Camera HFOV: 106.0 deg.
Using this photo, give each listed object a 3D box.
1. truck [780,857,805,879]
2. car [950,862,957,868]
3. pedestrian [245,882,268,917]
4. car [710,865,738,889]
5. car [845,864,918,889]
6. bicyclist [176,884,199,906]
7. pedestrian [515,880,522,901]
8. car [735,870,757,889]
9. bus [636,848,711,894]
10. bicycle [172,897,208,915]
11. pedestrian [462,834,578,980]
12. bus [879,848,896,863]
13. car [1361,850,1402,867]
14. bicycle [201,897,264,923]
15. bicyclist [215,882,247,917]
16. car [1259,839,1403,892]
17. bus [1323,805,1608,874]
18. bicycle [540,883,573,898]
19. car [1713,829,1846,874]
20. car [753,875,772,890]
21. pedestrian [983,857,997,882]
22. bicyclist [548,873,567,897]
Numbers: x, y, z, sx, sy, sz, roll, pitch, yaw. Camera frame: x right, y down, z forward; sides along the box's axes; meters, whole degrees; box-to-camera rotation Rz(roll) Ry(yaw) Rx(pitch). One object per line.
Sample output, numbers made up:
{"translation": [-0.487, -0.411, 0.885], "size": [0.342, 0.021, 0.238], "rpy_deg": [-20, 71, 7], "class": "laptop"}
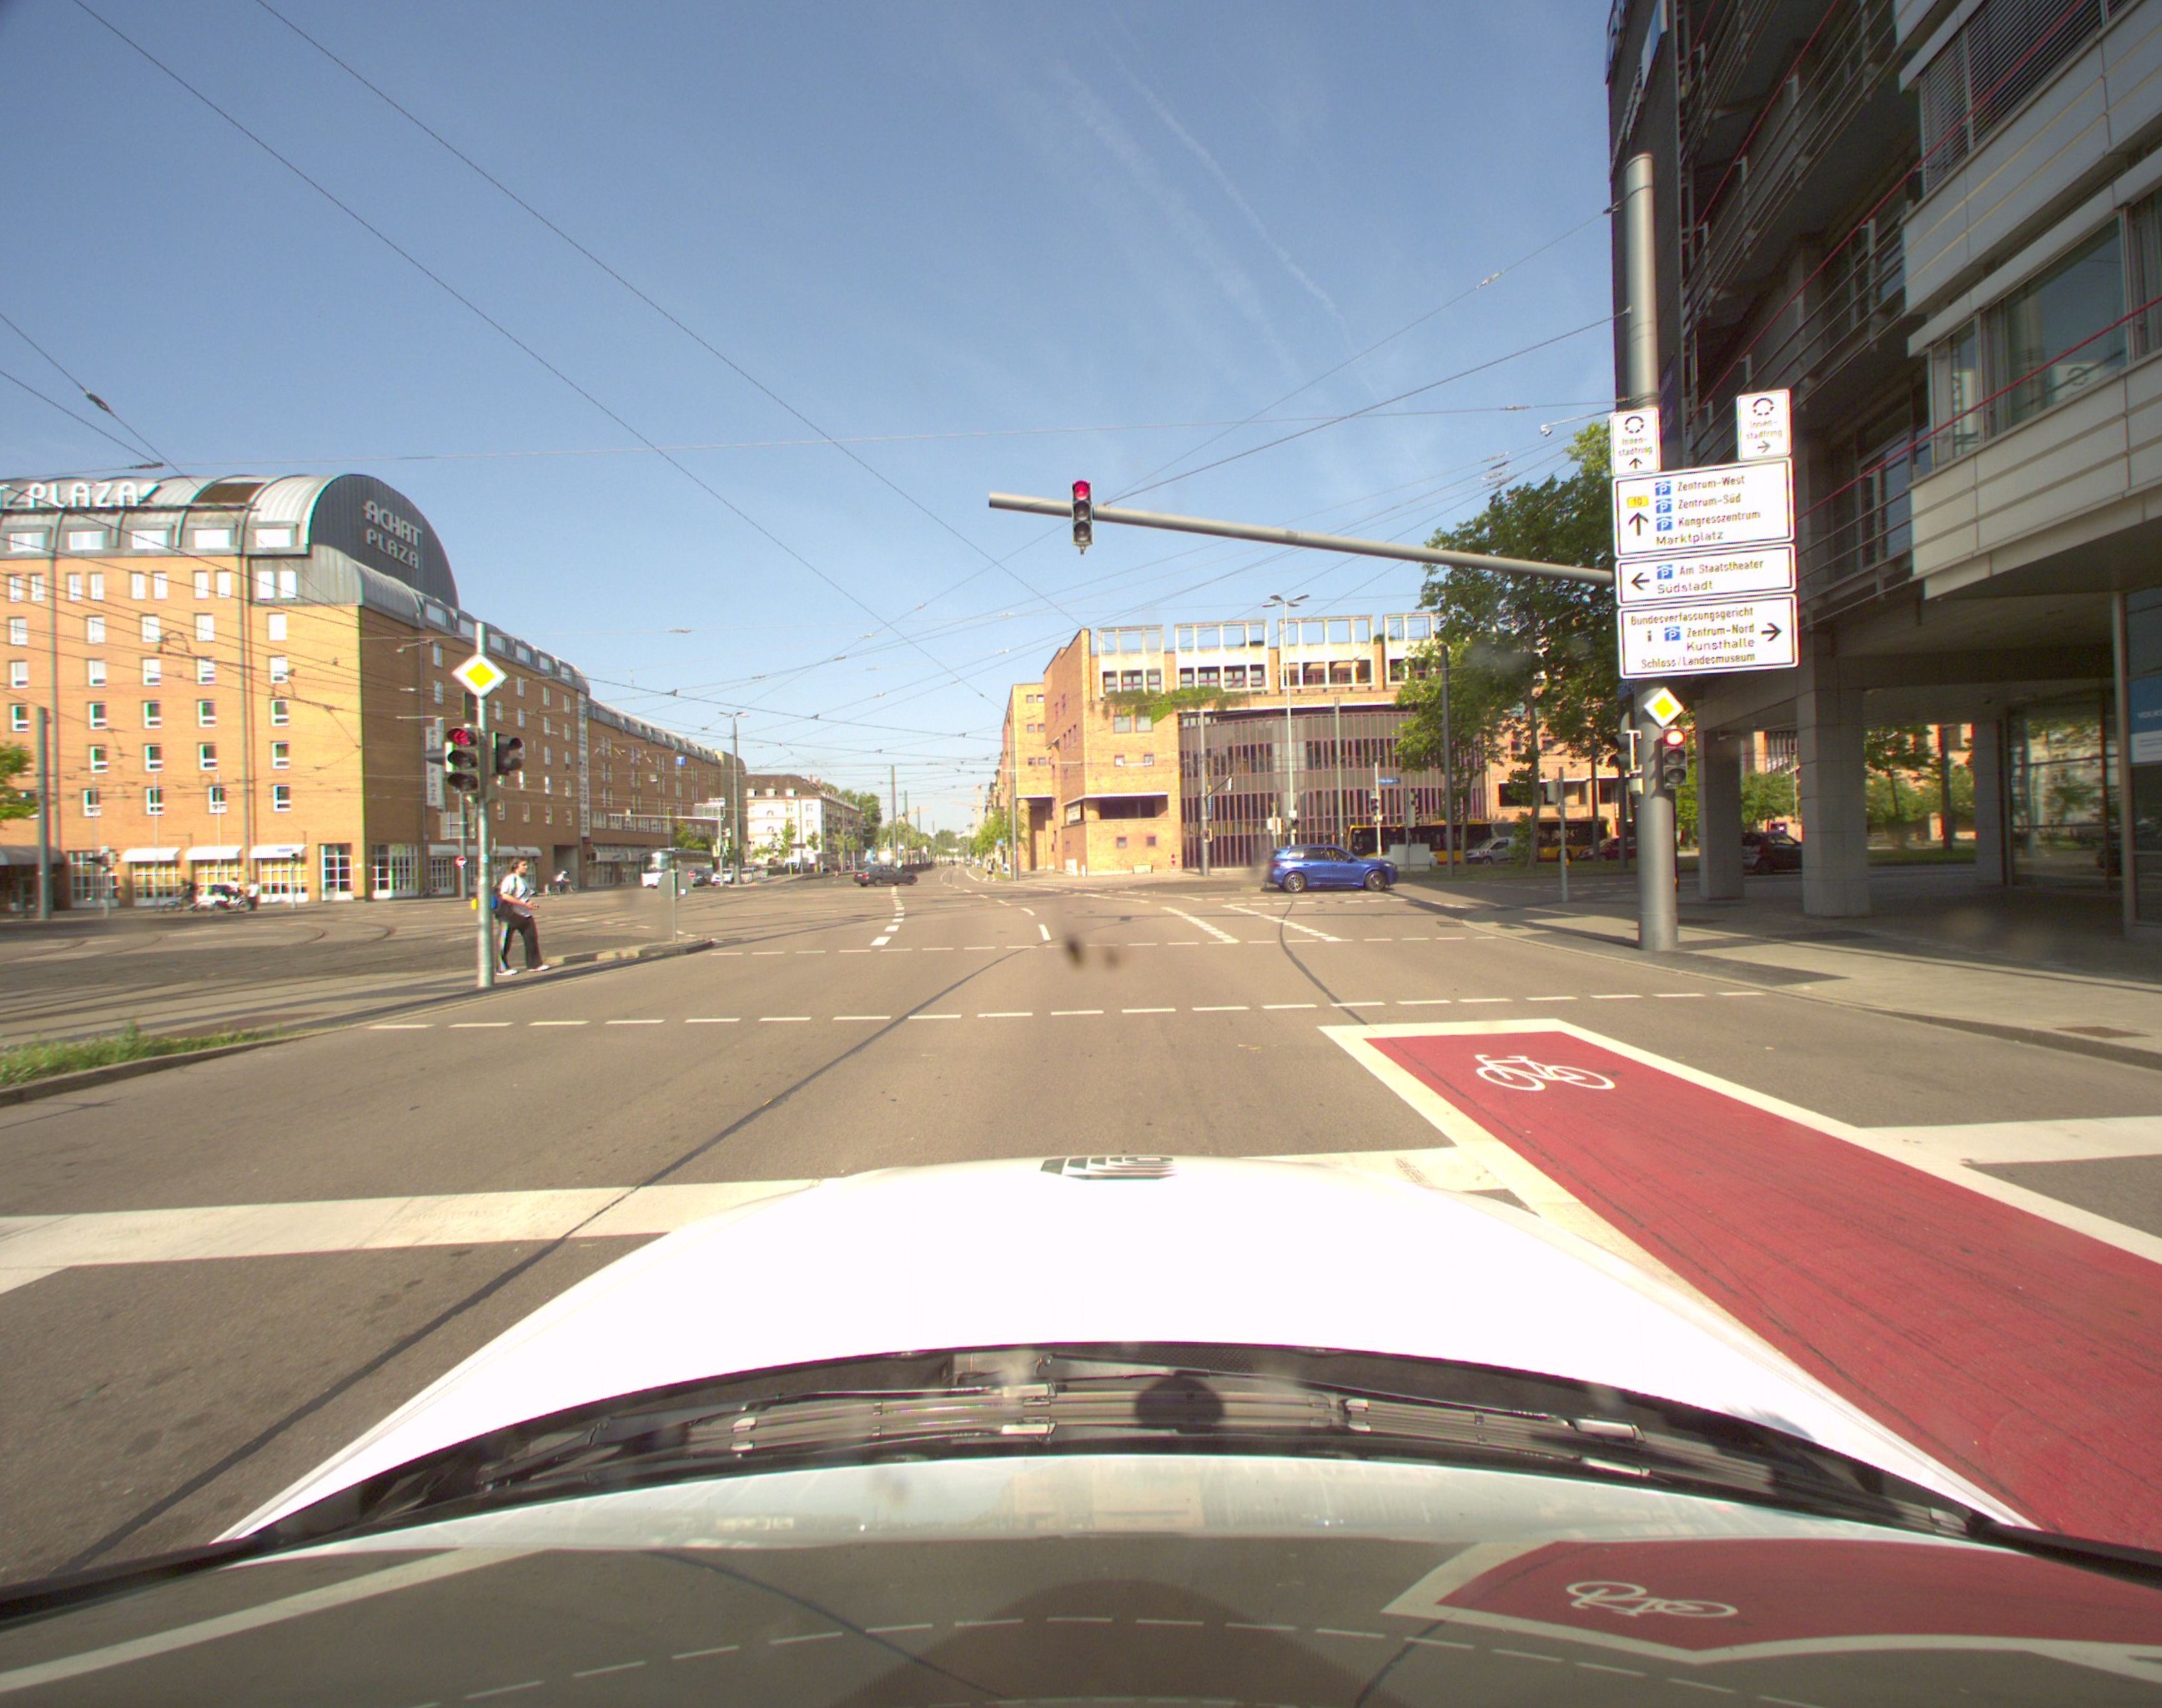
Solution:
{"translation": [-35.753, 1.738, 100.951], "size": [1.993, 2.599, 4.725], "rpy_deg": [-1, -2, -9], "class": "truck"}
{"translation": [-38.948, 3.346, 248.765], "size": [2.075, 1.542, 4.396], "rpy_deg": [-1, -1, -12], "class": "car"}
{"translation": [-48.022, 2.632, 47.448], "size": [0.753, 1.953, 0.874], "rpy_deg": [-1, 0, -35], "class": "pedestrian"}
{"translation": [-31.453, 1.995, 71.794], "size": [1.600, 2.014, 2.722], "rpy_deg": [-1, -2, -8], "class": "car"}
{"translation": [-12.864, 1.452, 52.775], "size": [1.974, 1.487, 4.247], "rpy_deg": [-3, -2, 40], "class": "car"}
{"translation": [-46.701, 2.143, 42.585], "size": [0.520, 1.129, 0.610], "rpy_deg": [-2, -2, 1], "class": "bicyclist"}
{"translation": [-41.258, 2.680, 59.735], "size": [0.371, 1.483, 0.426], "rpy_deg": [0, -2, -38], "class": "pedestrian"}
{"translation": [-32.073, 2.460, 78.042], "size": [1.207, 1.760, 2.604], "rpy_deg": [-2, -2, -5], "class": "car"}
{"translation": [-38.322, 1.653, 77.089], "size": [2.746, 3.921, 12.176], "rpy_deg": [-1, -2, -9], "class": "bus"}
{"translation": [-46.677, 2.711, 42.681], "size": [0.345, 0.872, 1.398], "rpy_deg": [-2, -2, 2], "class": "bicycle"}
{"translation": [-8.126, 0.744, 11.849], "size": [1.155, 2.014, 0.773], "rpy_deg": [-1, -2, -10], "class": "pedestrian"}
{"translation": [-26.852, 0.200, 112.957], "size": [1.994, 2.013, 3.986], "rpy_deg": [-1, 0, -10], "class": "bus"}
{"translation": [17.362, 0.256, 47.092], "size": [1.944, 0.958, 1.094], "rpy_deg": [-2, 0, 1], "class": "car"}
{"translation": [-44.439, 2.917, 42.680], "size": [0.544, 1.206, 2.296], "rpy_deg": [-2, -2, 15], "class": "bicycle"}
{"translation": [-44.496, 2.369, 42.647], "size": [0.659, 1.747, 0.971], "rpy_deg": [-2, -2, 15], "class": "bicyclist"}
{"translation": [8.526, 0.406, 28.071], "size": [4.379, 1.636, 1.994], "rpy_deg": [-2, -2, 4], "class": "car"}
{"translation": [24.530, -0.922, 52.076], "size": [17.592, 3.811, 2.858], "rpy_deg": [-2, -2, -7], "class": "bus"}
{"translation": [-37.492, 2.590, 58.204], "size": [1.961, 0.970, 0.418], "rpy_deg": [-1, -2, -13], "class": "bicycle"}
{"translation": [25.407, -0.103, 29.661], "size": [3.587, 1.492, 1.699], "rpy_deg": [-1, 1, -6], "class": "car"}
{"translation": [-33.256, 2.958, 85.168], "size": [1.392, 1.481, 2.731], "rpy_deg": [-1, -2, -12], "class": "car"}
{"translation": [-7.522, 1.251, 67.044], "size": [0.834, 2.013, 0.814], "rpy_deg": [-2, 0, 18], "class": "pedestrian"}
{"translation": [-37.430, 2.225, 58.226], "size": [0.987, 1.696, 0.668], "rpy_deg": [-1, -2, -12], "class": "bicyclist"}
